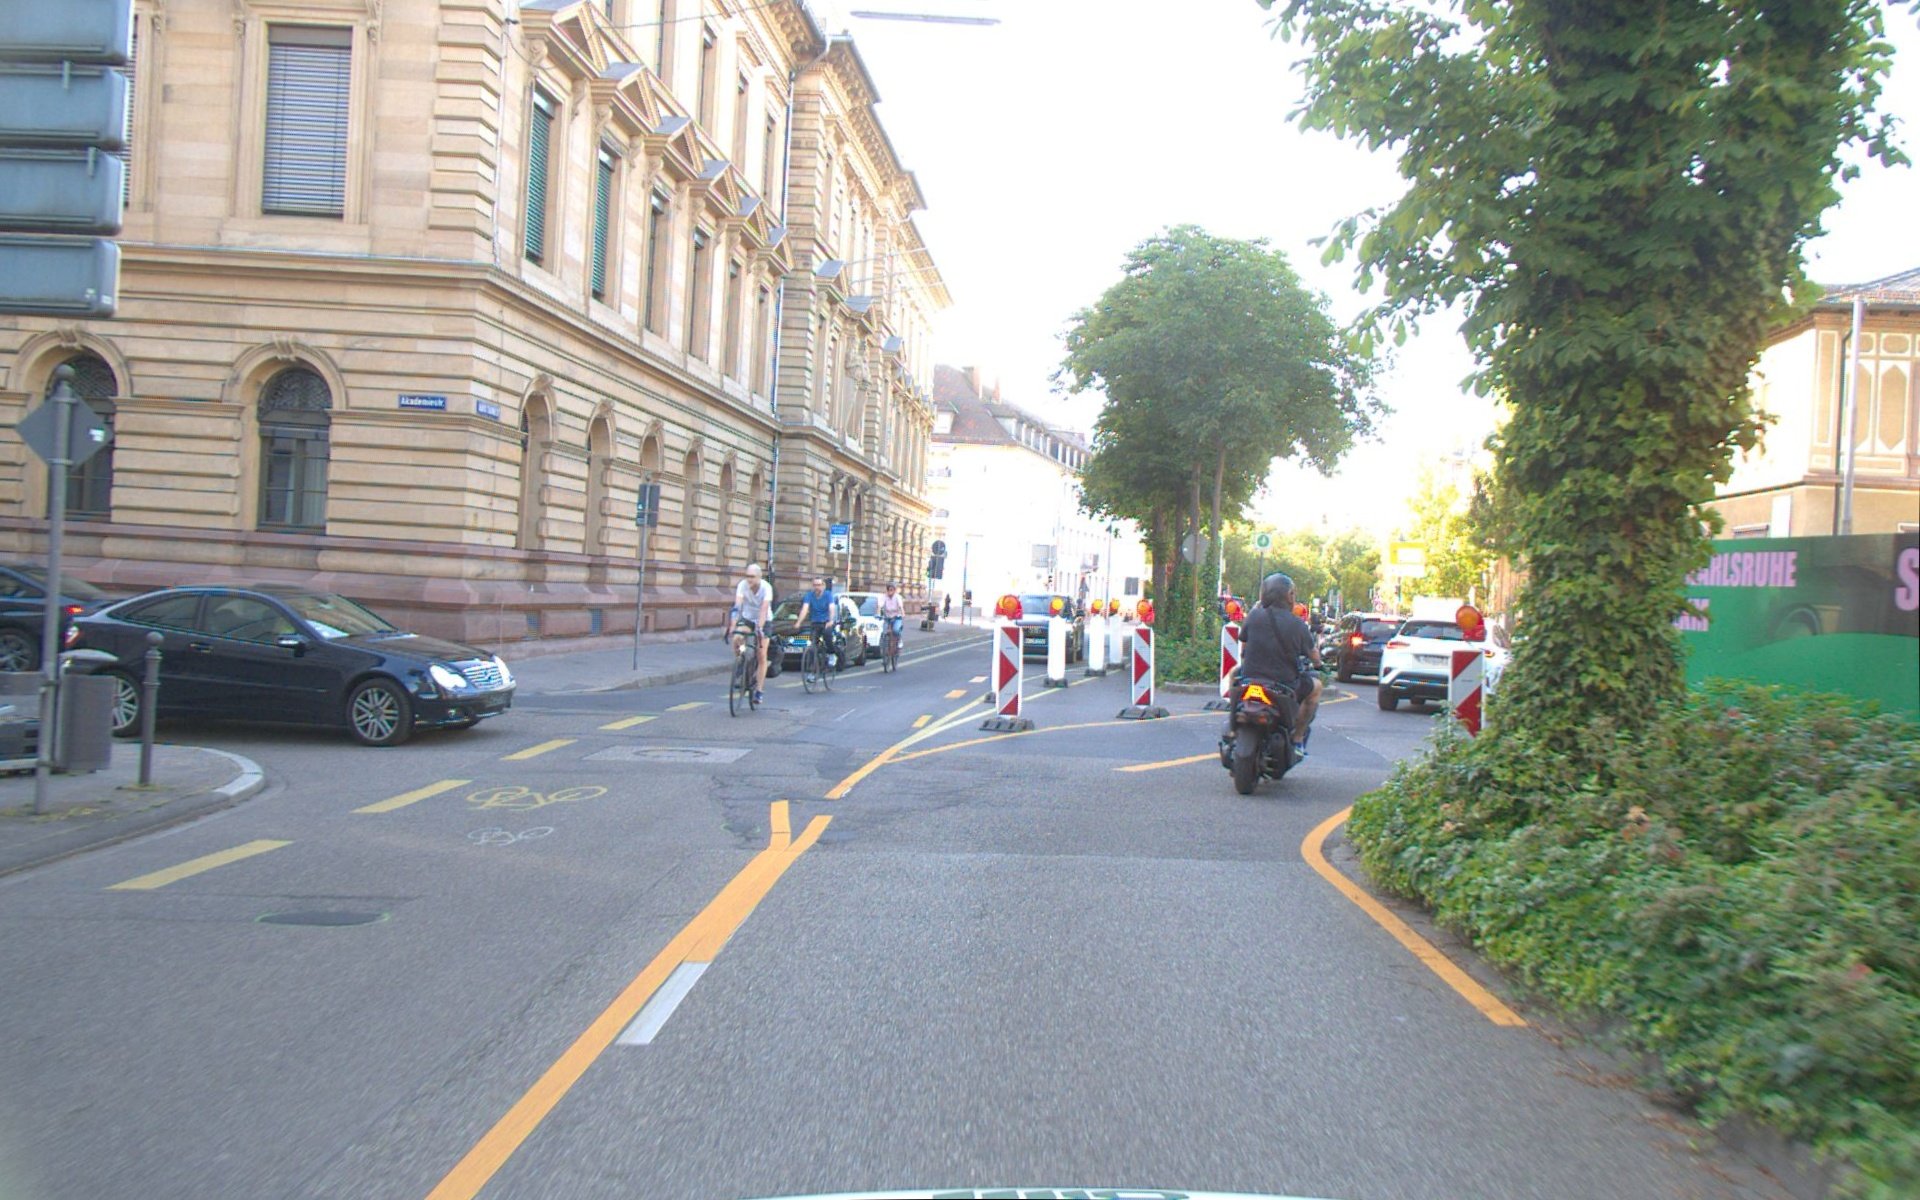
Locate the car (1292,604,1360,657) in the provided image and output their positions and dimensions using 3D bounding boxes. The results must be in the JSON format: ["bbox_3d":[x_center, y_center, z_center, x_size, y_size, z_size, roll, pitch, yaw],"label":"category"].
[{"bbox_3d":[13.244,1.068,60.036,1.802,1.728,4.060,4,0,5],"label":"car"}]

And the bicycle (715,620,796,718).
[{"bbox_3d":[-2.428,0.797,19.821,0.571,1.053,2.130,2,1,3],"label":"bicycle"}]

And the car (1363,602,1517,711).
[{"bbox_3d":[7.596,0.811,25.942,1.813,1.506,4.056,1,1,23],"label":"car"}]

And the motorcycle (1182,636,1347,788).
[{"bbox_3d":[2.475,0.863,13.288,0.781,1.084,1.723,4,0,27],"label":"motorcycle"}]

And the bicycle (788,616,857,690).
[{"bbox_3d":[-2.109,0.799,25.540,0.521,1.053,1.909,2,1,12],"label":"bicycle"}]

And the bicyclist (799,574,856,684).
[{"bbox_3d":[-2.038,0.440,25.576,0.615,1.642,0.870,2,0,12],"label":"bicyclist"}]

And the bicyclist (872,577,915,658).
[{"bbox_3d":[-1.324,0.337,33.084,0.615,1.581,0.732,2,0,17],"label":"bicyclist"}]

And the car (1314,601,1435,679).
[{"bbox_3d":[8.901,0.816,35.839,1.802,1.489,4.059,4,0,4],"label":"car"}]

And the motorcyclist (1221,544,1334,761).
[{"bbox_3d":[2.590,0.415,13.467,0.645,1.679,0.649,3,0,29],"label":"motorcyclist"}]

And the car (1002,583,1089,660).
[{"bbox_3d":[2.028,0.486,40.309,1.952,1.724,4.400,2,0,1],"label":"car"}]

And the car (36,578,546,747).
[{"bbox_3d":[-6.404,0.561,16.062,4.222,1.414,1.777,2,0,7],"label":"car"}]

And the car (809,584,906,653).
[{"bbox_3d":[-2.460,0.425,40.657,1.952,1.555,4.185,2,0,1],"label":"car"}]

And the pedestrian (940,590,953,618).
[{"bbox_3d":[-0.738,0.233,92.852,0.652,1.580,0.649,2,0,1],"label":"pedestrian"}]

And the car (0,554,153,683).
[{"bbox_3d":[-12.461,0.167,20.105,4.368,1.486,1.774,2,0,-5],"label":"car"}]

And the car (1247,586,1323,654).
[{"bbox_3d":[10.265,0.616,52.456,1.802,1.945,4.060,4,0,5],"label":"car"}]

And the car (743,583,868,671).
[{"bbox_3d":[-3.036,0.494,33.337,1.952,1.594,4.290,2,0,1],"label":"car"}]

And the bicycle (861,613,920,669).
[{"bbox_3d":[-1.372,0.796,33.132,0.522,1.053,2.037,2,1,17],"label":"bicycle"}]

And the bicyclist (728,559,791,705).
[{"bbox_3d":[-2.403,0.376,19.911,0.554,1.696,0.835,2,0,4],"label":"bicyclist"}]
